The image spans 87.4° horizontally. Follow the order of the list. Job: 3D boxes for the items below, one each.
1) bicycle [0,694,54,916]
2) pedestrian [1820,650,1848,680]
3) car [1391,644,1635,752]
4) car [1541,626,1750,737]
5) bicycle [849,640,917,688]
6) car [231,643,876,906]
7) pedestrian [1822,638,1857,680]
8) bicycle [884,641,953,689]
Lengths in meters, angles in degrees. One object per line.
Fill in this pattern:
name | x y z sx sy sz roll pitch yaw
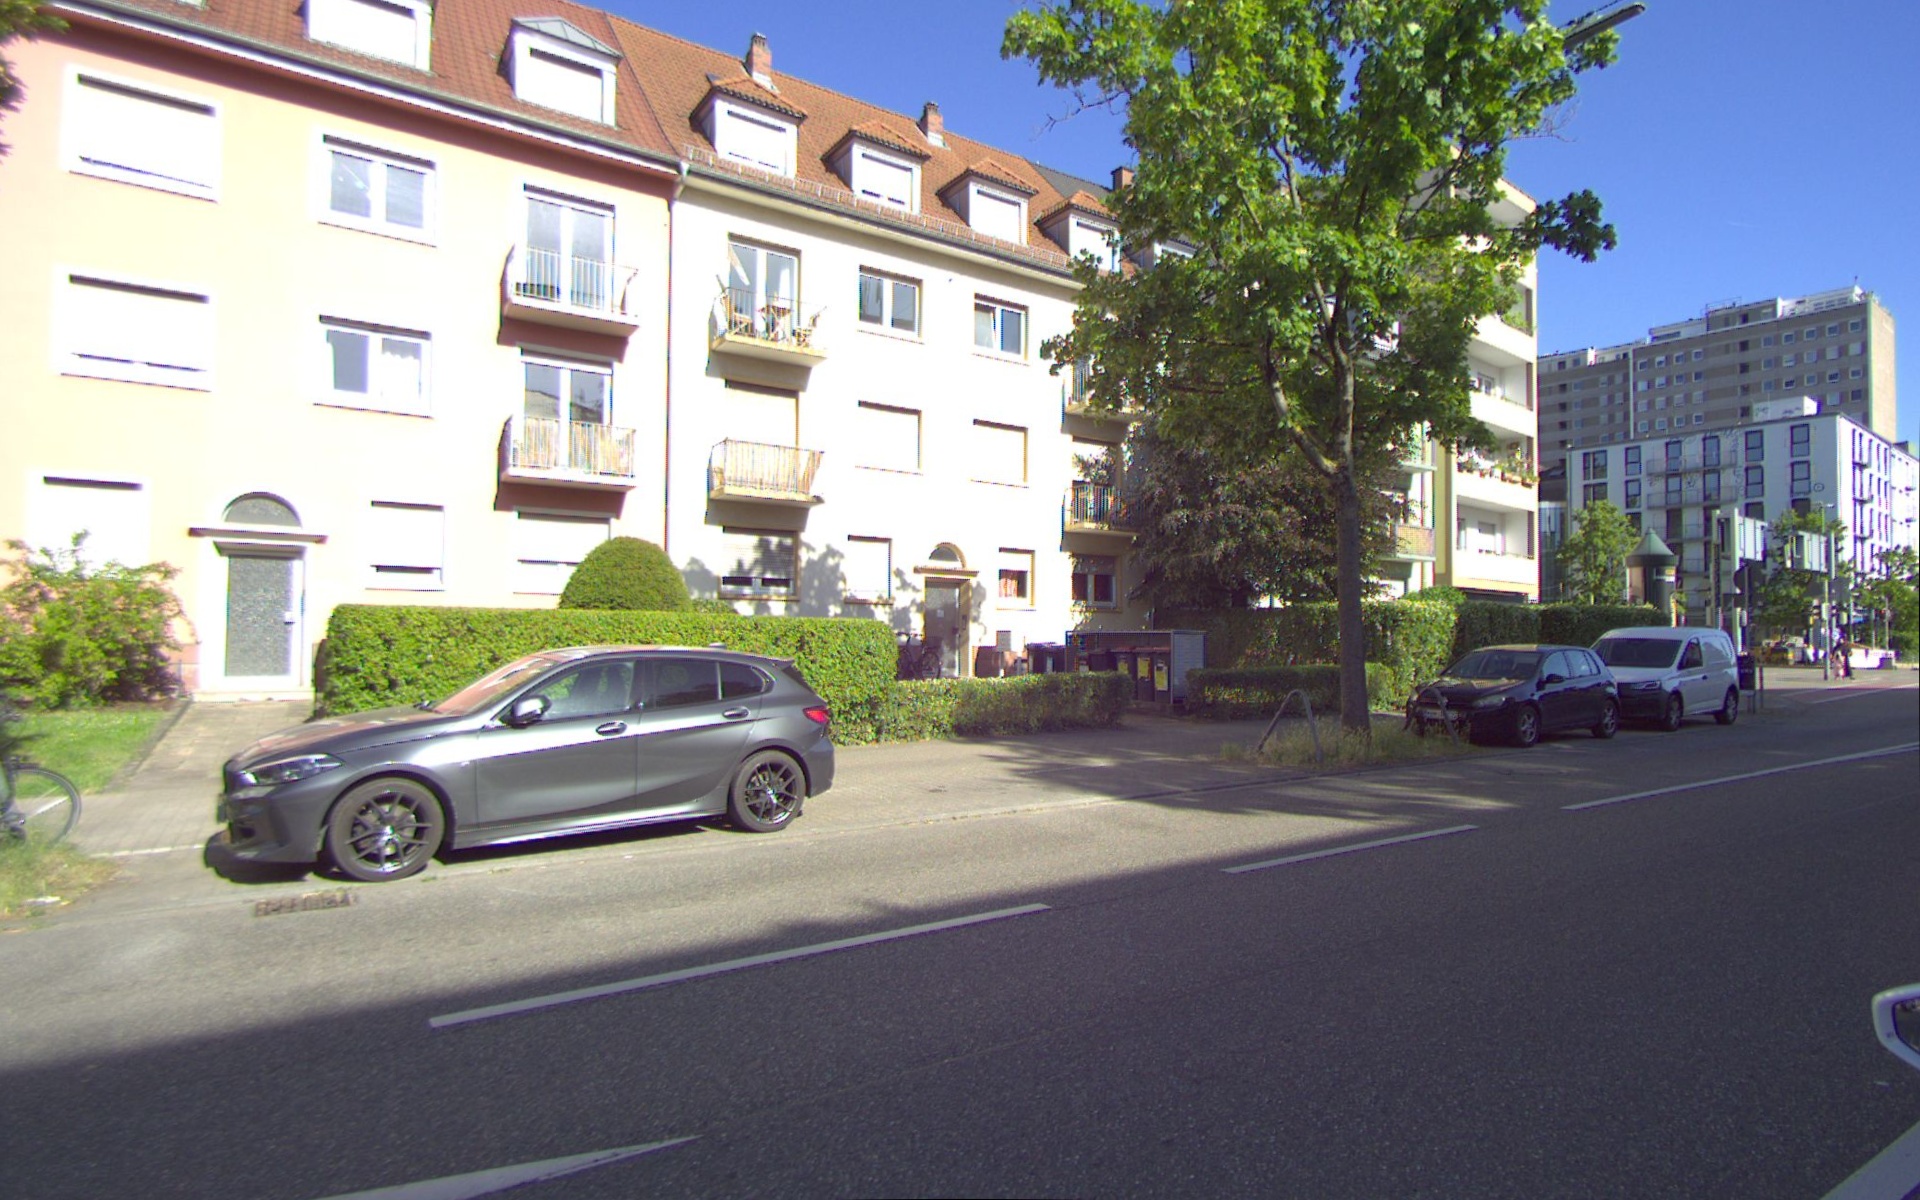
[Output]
bicycle | -5.781 1.158 5.835 0.542 1.149 1.534 1 -3 -34
pedestrian | 34.439 2.549 39.580 0.651 1.181 0.676 -1 -2 24
car | 8.771 1.445 15.845 4.067 1.476 1.662 1 -2 -33
car | 12.937 1.432 18.863 4.517 1.858 1.807 1 -2 -36
bicycle | -1.629 1.317 20.975 0.565 0.941 2.106 1 -2 -30
car | -2.934 1.077 7.747 4.326 1.427 1.755 1 -2 -37
pedestrian | 35.293 2.343 40.311 0.815 1.671 0.677 0 -2 13
bicycle | -0.906 1.345 21.277 0.565 0.955 2.106 1 -2 -30
